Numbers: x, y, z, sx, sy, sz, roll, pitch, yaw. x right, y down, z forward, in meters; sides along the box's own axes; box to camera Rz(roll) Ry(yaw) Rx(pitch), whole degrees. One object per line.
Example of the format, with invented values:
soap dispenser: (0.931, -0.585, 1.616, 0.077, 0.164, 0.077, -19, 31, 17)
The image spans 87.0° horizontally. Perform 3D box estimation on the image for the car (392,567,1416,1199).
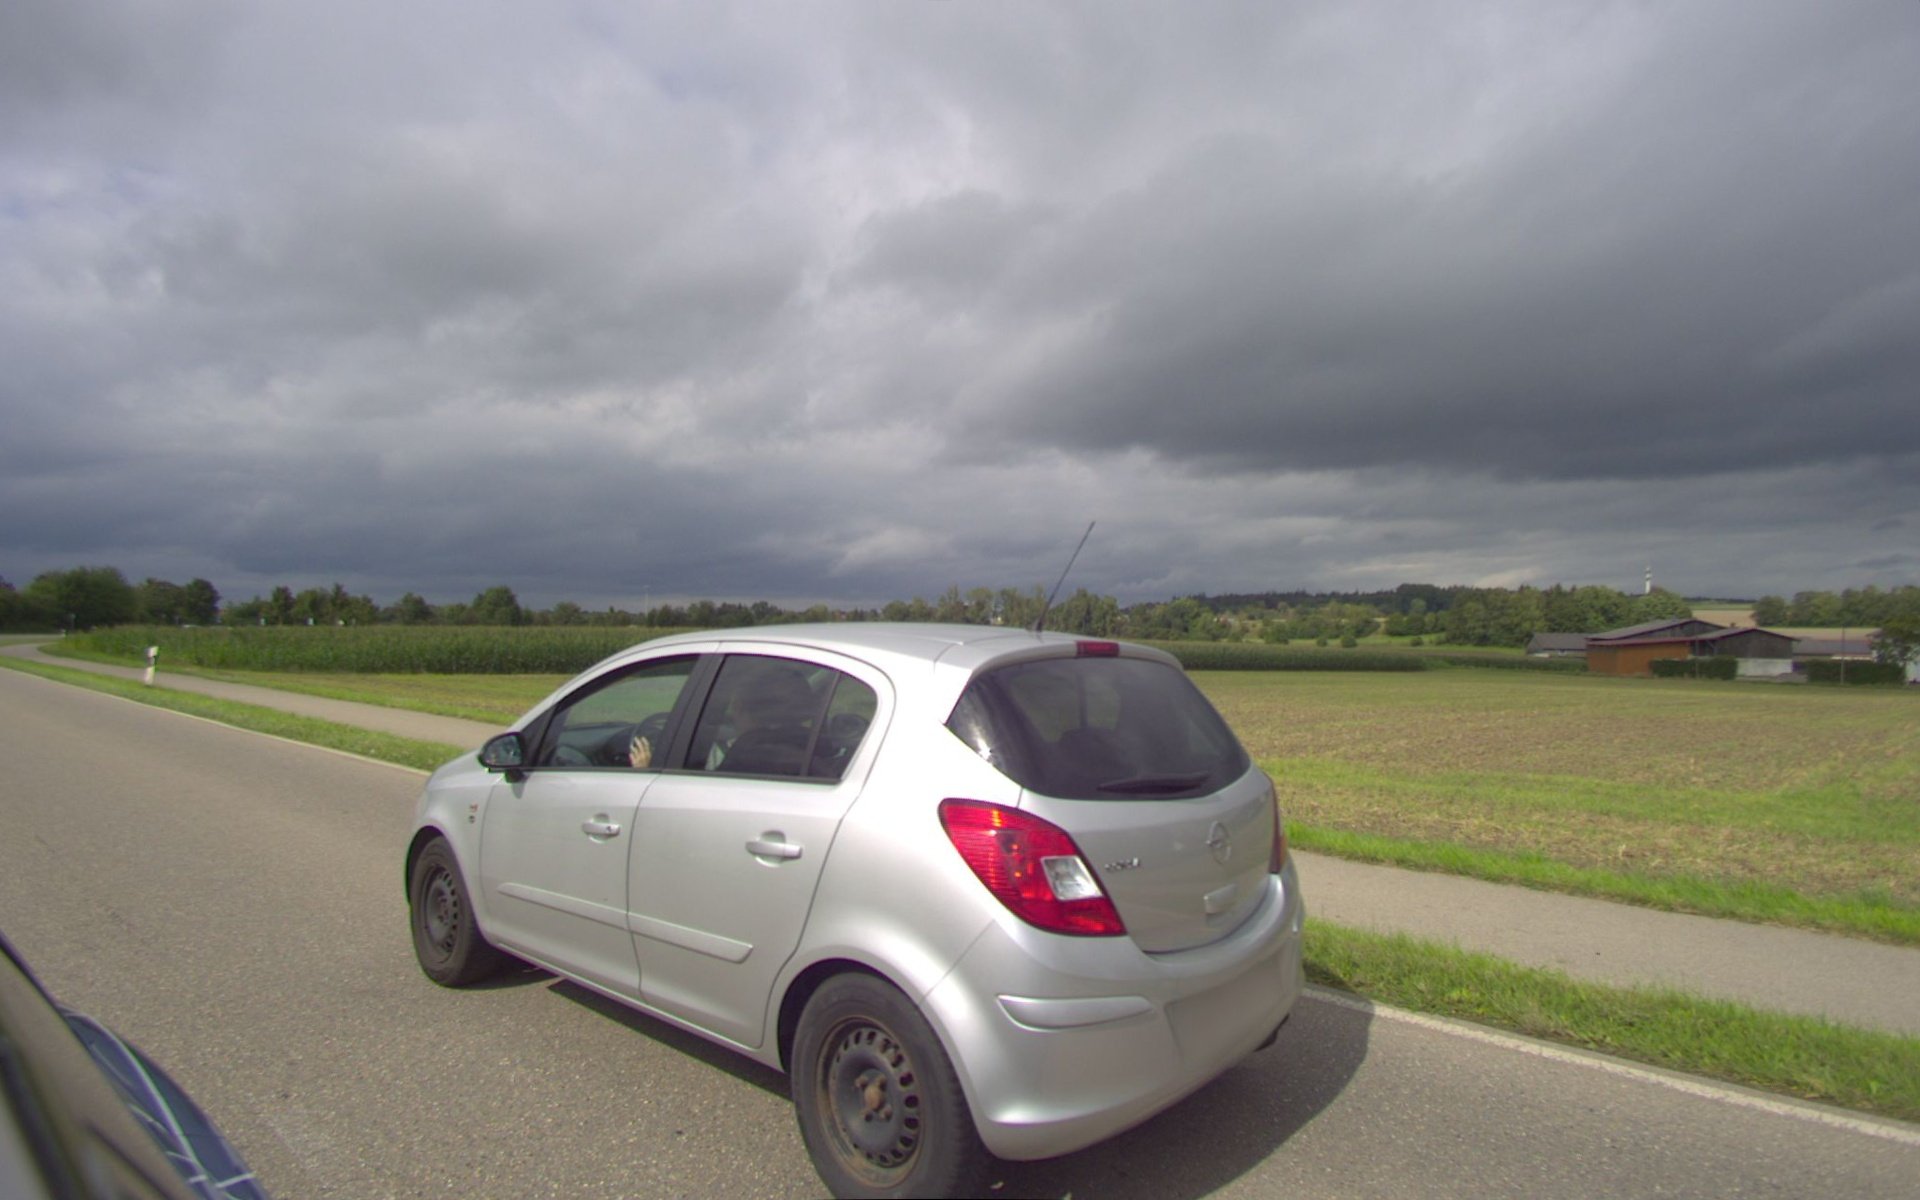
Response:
car: (-0.467, 0.724, 3.662, 3.541, 1.470, 1.677, -1, -3, 41)
